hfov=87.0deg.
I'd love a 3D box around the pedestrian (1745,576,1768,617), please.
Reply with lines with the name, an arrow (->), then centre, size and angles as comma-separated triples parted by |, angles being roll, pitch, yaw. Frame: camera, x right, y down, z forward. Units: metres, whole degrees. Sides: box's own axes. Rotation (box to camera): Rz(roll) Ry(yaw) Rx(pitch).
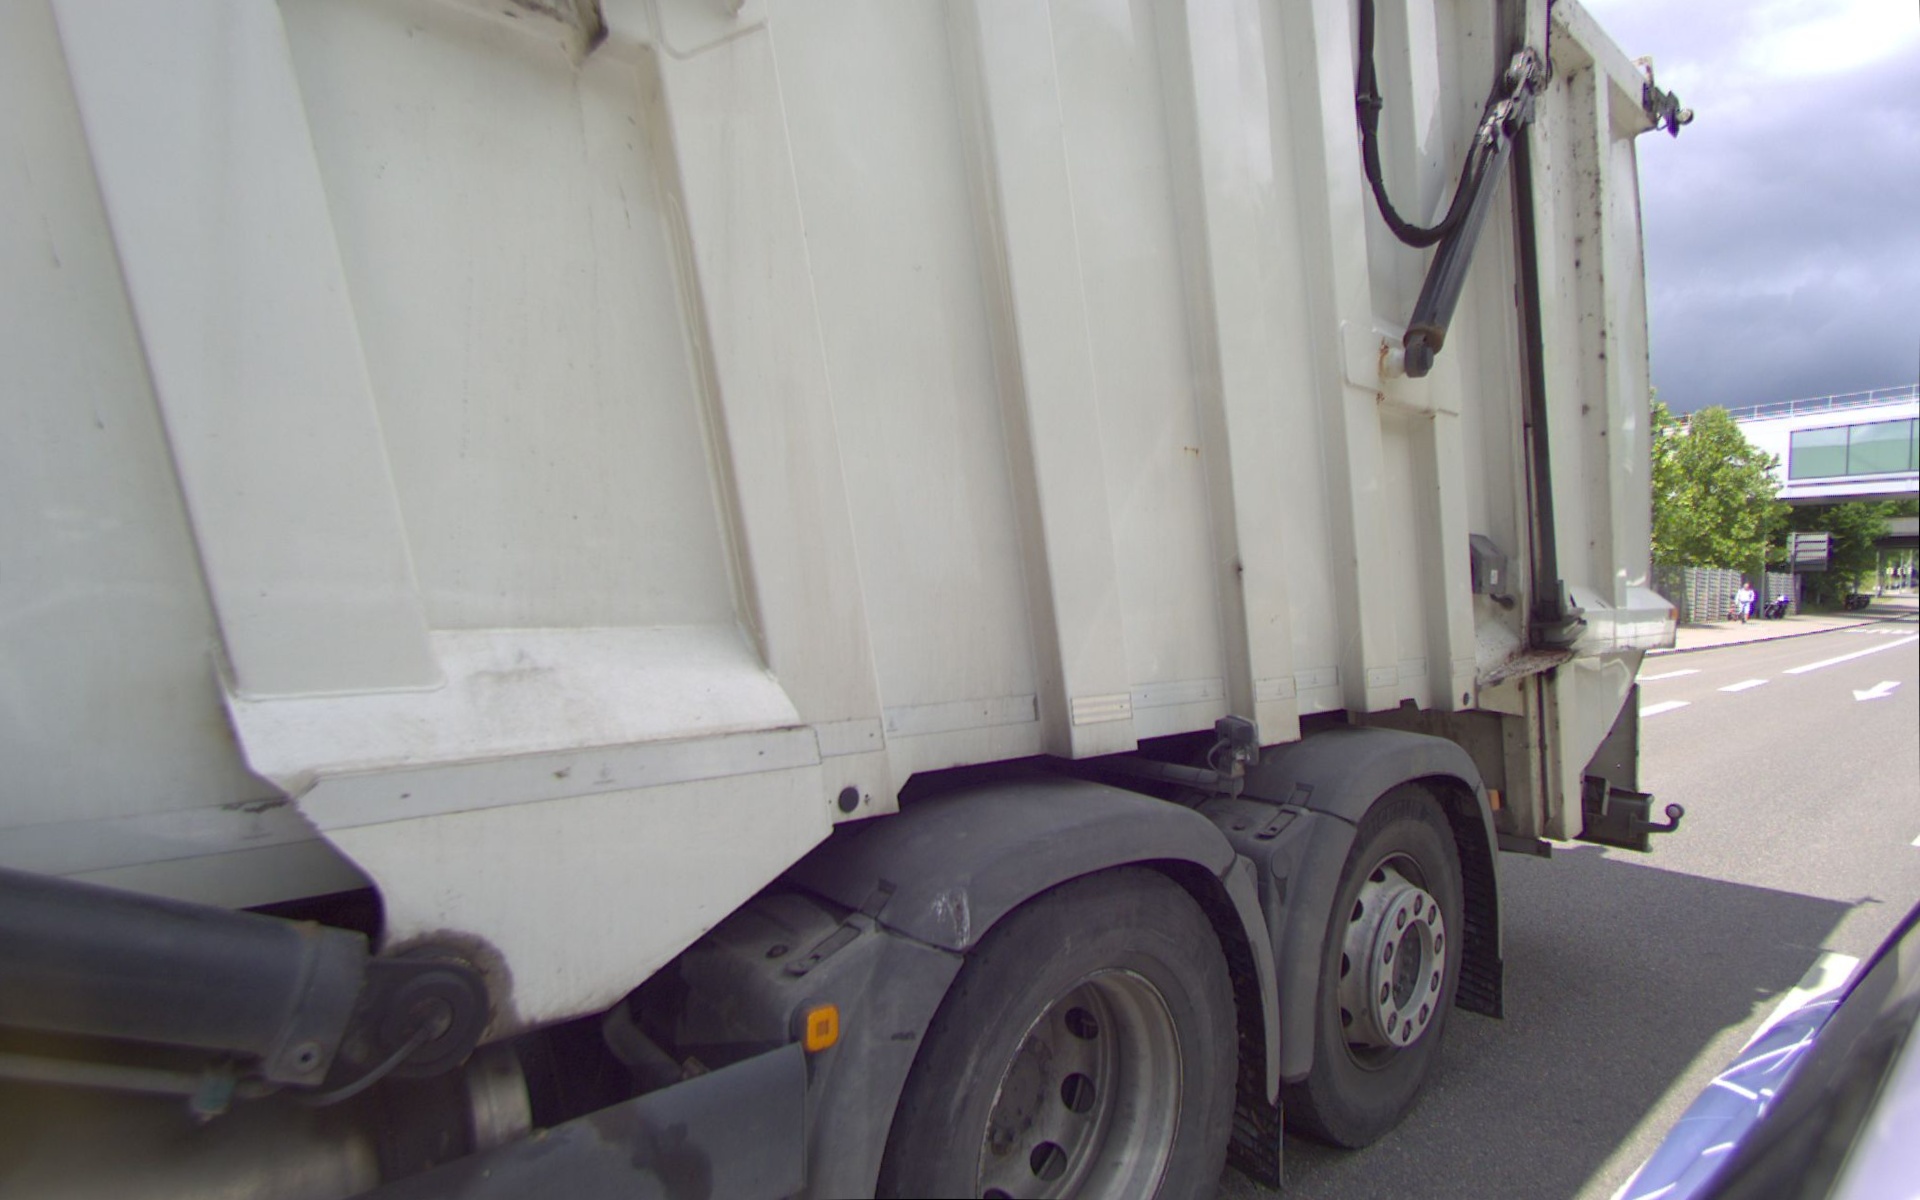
pedestrian -> 37.769, -0.179, 47.998 | 0.647, 1.936, 0.738 | 0, 0, -42

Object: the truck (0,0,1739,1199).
truck -> -0.831, -0.542, 2.413 | 9.999, 3.962, 2.492 | -1, 0, -42
